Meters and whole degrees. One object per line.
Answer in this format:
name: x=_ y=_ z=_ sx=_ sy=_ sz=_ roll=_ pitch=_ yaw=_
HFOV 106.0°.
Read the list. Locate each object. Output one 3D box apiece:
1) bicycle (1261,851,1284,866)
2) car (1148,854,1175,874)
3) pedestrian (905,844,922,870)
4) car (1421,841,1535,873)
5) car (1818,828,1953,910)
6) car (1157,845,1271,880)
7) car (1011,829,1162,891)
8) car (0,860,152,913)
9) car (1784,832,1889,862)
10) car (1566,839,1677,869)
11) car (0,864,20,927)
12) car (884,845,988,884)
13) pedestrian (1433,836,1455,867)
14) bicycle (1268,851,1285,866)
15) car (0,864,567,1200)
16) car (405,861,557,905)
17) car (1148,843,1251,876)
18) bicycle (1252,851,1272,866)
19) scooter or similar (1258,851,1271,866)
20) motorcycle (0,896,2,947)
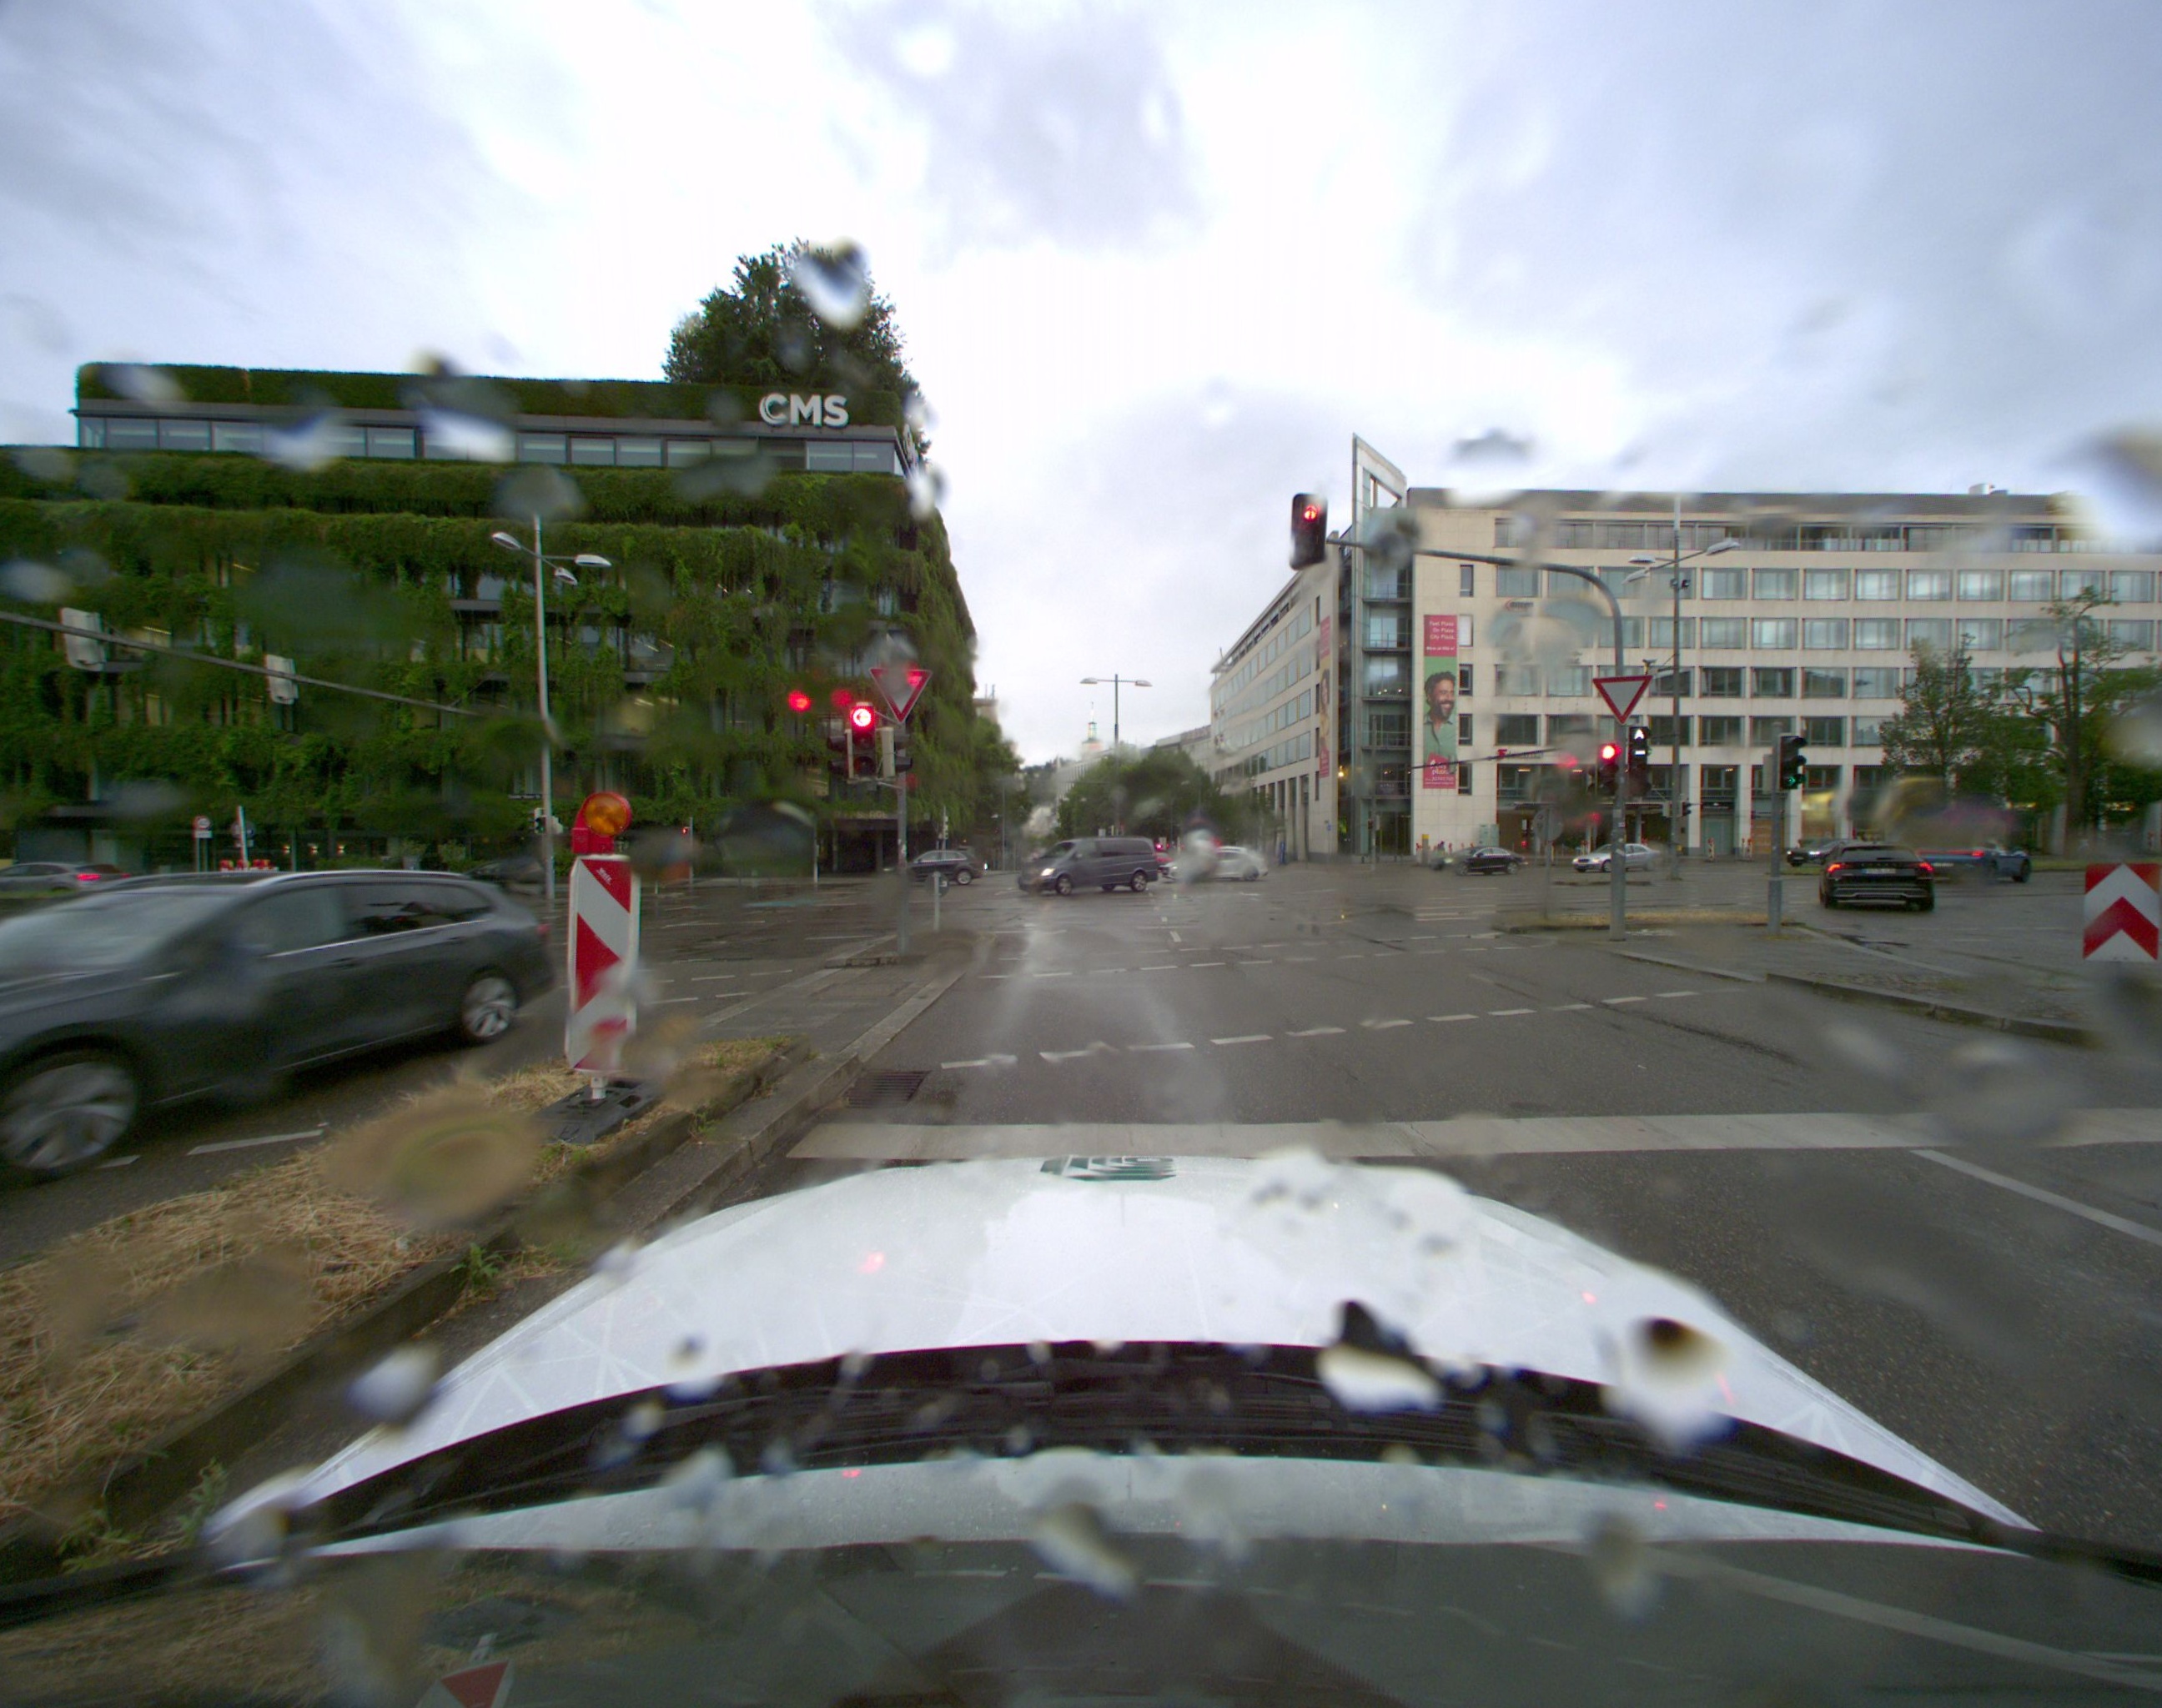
bicycle: x=15.200 y=0.373 z=64.658 sx=1.607 sy=1.194 sz=0.590 roll=-1 pitch=-1 yaw=27
car: x=6.212 y=0.758 z=63.105 sx=1.775 sy=1.508 sz=4.001 roll=0 pitch=-1 yaw=2
pedestrian: x=-10.674 y=0.219 z=51.984 sx=0.930 sy=1.644 sz=0.774 roll=0 pitch=-1 yaw=1
car: x=19.353 y=0.145 z=39.752 sx=4.852 sy=1.477 sz=1.991 roll=0 pitch=-2 yaw=-13
car: x=18.527 y=0.290 z=18.930 sx=1.910 sy=1.695 sz=4.025 roll=-1 pitch=0 yaw=40
car: x=5.914 y=0.357 z=36.323 sx=4.690 sy=1.512 sz=1.802 roll=0 pitch=-1 yaw=-14
car: x=0.261 y=0.199 z=27.747 sx=4.988 sy=1.927 sz=1.977 roll=0 pitch=-1 yaw=-38
car: x=-34.158 y=1.062 z=27.022 sx=3.992 sy=1.669 sz=1.843 roll=0 pitch=-1 yaw=-14
car: x=41.450 y=-0.362 z=44.722 sx=4.471 sy=1.609 sz=1.827 roll=0 pitch=-1 yaw=-8
car: x=27.444 y=0.004 z=41.391 sx=4.723 sy=1.477 sz=1.991 roll=0 pitch=-2 yaw=-13
car: x=-27.341 y=1.002 z=18.320 sx=3.981 sy=1.475 sz=1.996 roll=-1 pitch=0 yaw=-6
car: x=-6.392 y=0.447 z=36.078 sx=4.406 sy=1.638 sz=1.992 roll=0 pitch=-1 yaw=-11
pedestrian: x=21.933 y=-0.155 z=49.260 sx=0.958 sy=1.816 sz=0.837 roll=0 pitch=-1 yaw=1
bicycle: x=16.050 y=0.397 z=66.749 sx=0.579 sy=1.194 sz=1.794 roll=-1 pitch=-1 yaw=40
car: x=-5.702 y=0.837 z=5.452 sx=1.681 sy=1.510 sz=4.293 roll=0 pitch=-1 yaw=2
car: x=-23.678 y=1.109 z=32.322 sx=4.405 sy=1.638 sz=1.992 roll=0 pitch=-1 yaw=-11
car: x=5.754 y=0.252 z=39.708 sx=4.690 sy=1.512 sz=1.802 roll=0 pitch=-1 yaw=-14
bicycle: x=14.727 y=0.389 z=66.223 sx=0.588 sy=1.194 sz=1.768 roll=0 pitch=-1 yaw=-26
scooter or similar: x=14.419 y=0.373 z=63.992 sx=0.951 sy=1.194 sz=0.458 roll=-1 pitch=-1 yaw=42
motorcycle: x=-23.529 y=1.409 z=16.223 sx=2.366 sy=1.054 sz=0.829 roll=0 pitch=-1 yaw=-19
